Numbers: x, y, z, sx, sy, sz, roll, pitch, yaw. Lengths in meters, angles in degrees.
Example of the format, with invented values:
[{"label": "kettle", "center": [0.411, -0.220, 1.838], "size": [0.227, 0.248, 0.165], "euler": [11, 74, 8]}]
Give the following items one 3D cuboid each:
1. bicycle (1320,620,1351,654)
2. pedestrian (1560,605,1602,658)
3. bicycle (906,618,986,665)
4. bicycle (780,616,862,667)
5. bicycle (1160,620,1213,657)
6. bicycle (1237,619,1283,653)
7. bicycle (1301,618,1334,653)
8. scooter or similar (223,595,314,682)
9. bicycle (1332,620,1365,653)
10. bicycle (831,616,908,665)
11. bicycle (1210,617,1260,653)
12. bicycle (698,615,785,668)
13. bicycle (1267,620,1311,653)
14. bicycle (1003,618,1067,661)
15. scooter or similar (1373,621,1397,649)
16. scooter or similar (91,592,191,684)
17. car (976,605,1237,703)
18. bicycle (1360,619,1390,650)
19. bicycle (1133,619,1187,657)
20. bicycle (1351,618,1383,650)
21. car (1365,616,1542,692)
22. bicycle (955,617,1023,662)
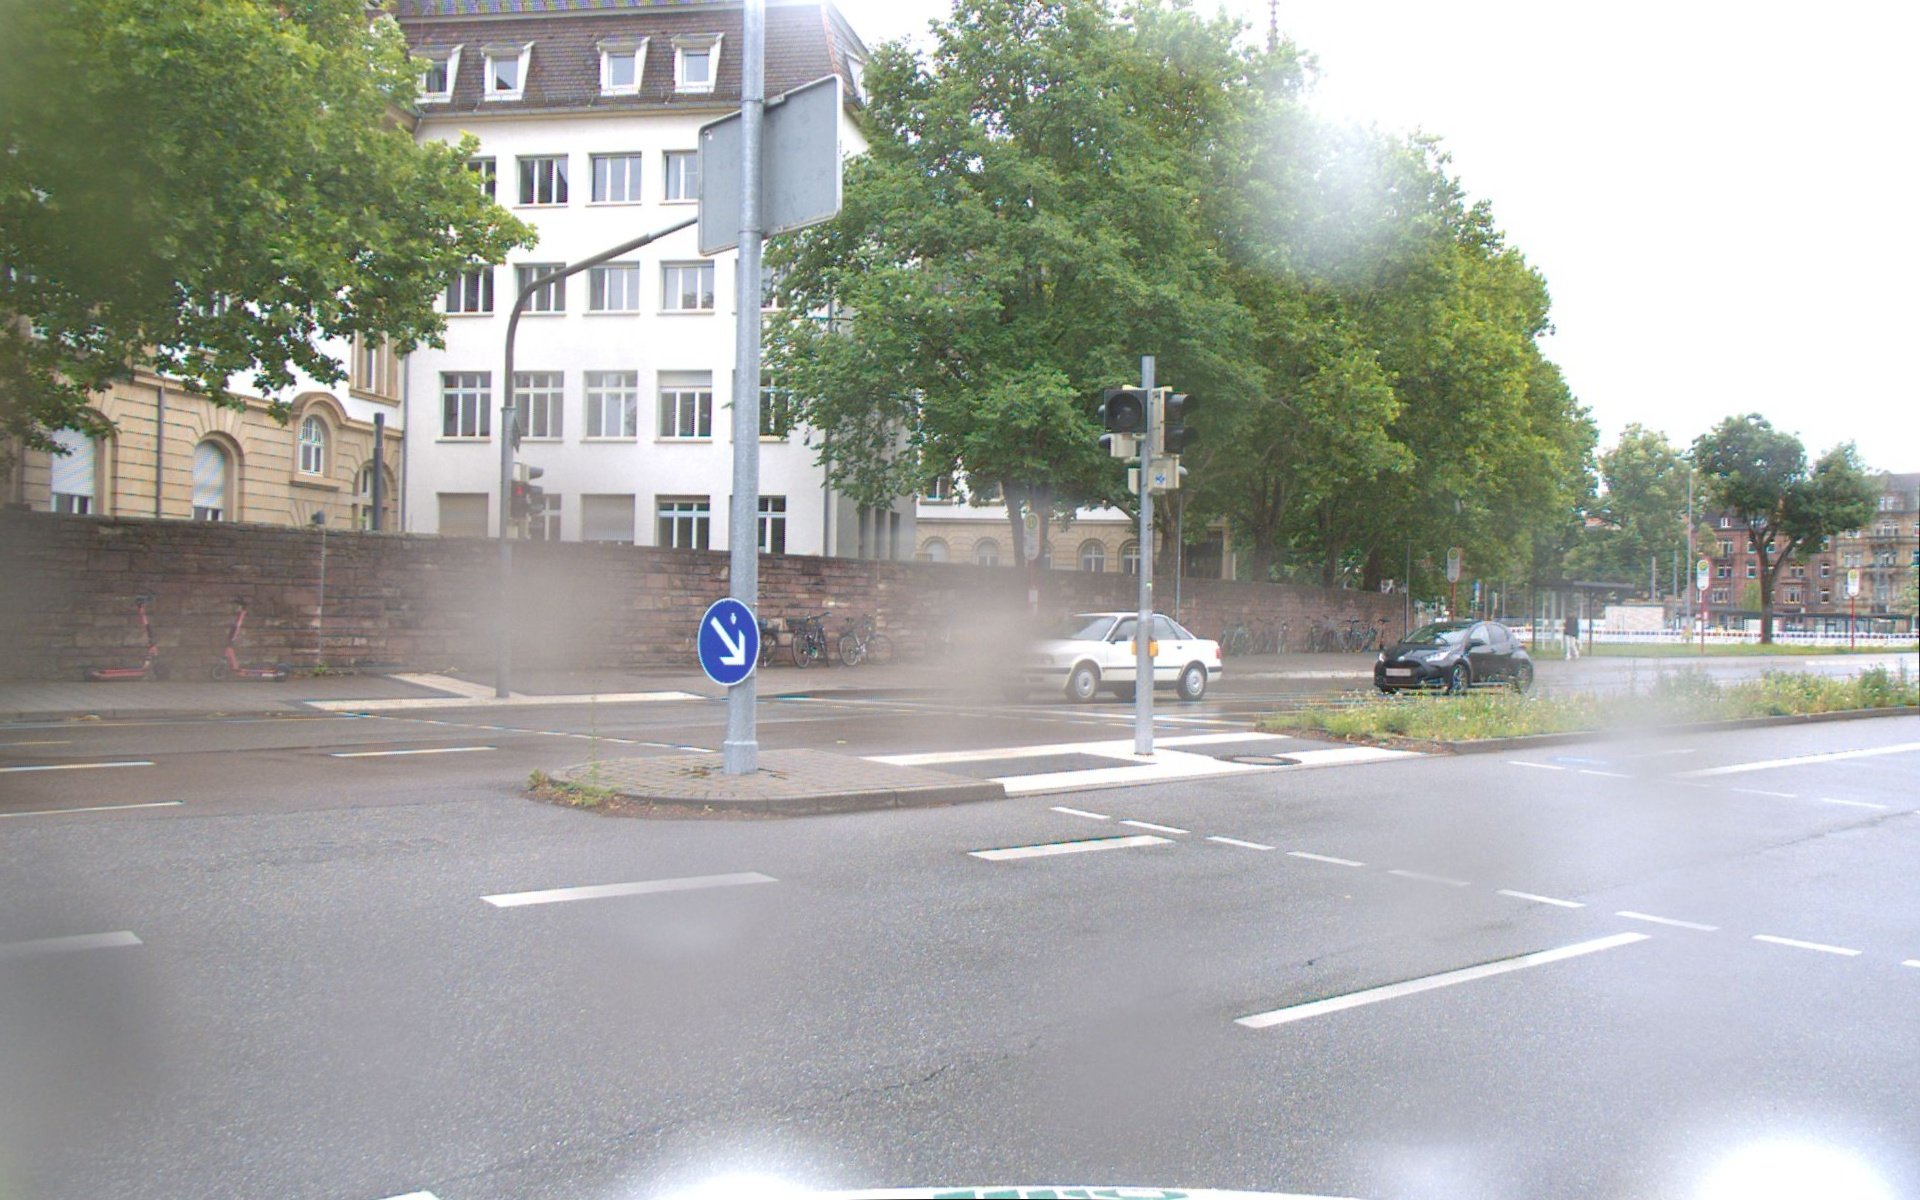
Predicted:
[{"label": "bicycle", "center": [13.038, 1.282, 57.467], "size": [0.562, 1.155, 1.989], "euler": [1, 0, 27]}, {"label": "pedestrian", "center": [20.610, 1.052, 54.865], "size": [0.855, 1.725, 1.392], "euler": [1, 0, 41]}, {"label": "bicycle", "center": [-0.304, 0.912, 36.686], "size": [0.720, 1.000, 1.854], "euler": [1, 0, 40]}, {"label": "bicycle", "center": [-2.827, 0.835, 33.776], "size": [0.719, 1.000, 1.694], "euler": [1, 0, 36]}, {"label": "bicycle", "center": [6.339, 1.060, 46.216], "size": [0.719, 1.000, 1.694], "euler": [1, 0, 36]}, {"label": "bicycle", "center": [9.225, 1.114, 50.806], "size": [0.719, 1.000, 1.694], "euler": [1, 0, 36]}, {"label": "bicycle", "center": [11.968, 1.169, 55.302], "size": [0.562, 1.155, 1.989], "euler": [1, 0, 27]}, {"label": "scooter or similar", "center": [-10.277, 0.566, 24.601], "size": [0.385, 1.217, 1.136], "euler": [9, 5, 40]}, {"label": "bicycle", "center": [13.934, 1.293, 59.336], "size": [0.562, 1.155, 1.987], "euler": [1, 0, 31]}, {"label": "bicycle", "center": [-1.924, 0.857, 35.255], "size": [0.719, 1.000, 1.694], "euler": [1, 0, 36]}, {"label": "bicycle", "center": [7.969, 1.022, 47.896], "size": [0.719, 1.000, 1.694], "euler": [1, 0, 36]}, {"label": "bicycle", "center": [-4.264, 0.804, 32.372], "size": [0.719, 1.000, 1.694], "euler": [1, 0, 36]}, {"label": "bicycle", "center": [10.446, 1.163, 52.533], "size": [0.719, 1.000, 1.694], "euler": [1, 0, 36]}, {"label": "bicycle", "center": [1.824, 0.942, 40.140], "size": [0.719, 1.000, 1.694], "euler": [1, 0, 36]}, {"label": "scooter or similar", "center": [16.570, 1.371, 64.475], "size": [0.561, 1.065, 1.359], "euler": [1, 0, 31]}, {"label": "scooter or similar", "center": [-11.539, 0.533, 23.325], "size": [0.385, 1.217, 1.135], "euler": [9, 5, 42]}, {"label": "car", "center": [2.413, 0.839, 26.402], "size": [4.486, 1.440, 1.576], "euler": [1, -2, -43]}, {"label": "bicycle", "center": [15.874, 1.294, 63.206], "size": [0.562, 1.155, 1.987], "euler": [1, 0, 31]}, {"label": "bicycle", "center": [5.483, 1.041, 45.175], "size": [0.719, 1.000, 1.694], "euler": [1, 0, 36]}, {"label": "bicycle", "center": [15.090, 1.249, 61.295], "size": [0.562, 1.155, 1.987], "euler": [1, 0, 31]}, {"label": "car", "center": [9.991, 1.082, 33.379], "size": [4.032, 1.440, 1.604], "euler": [1, -2, -43]}, {"label": "bicycle", "center": [0.681, 0.914, 38.301], "size": [0.719, 1.000, 1.694], "euler": [1, 0, 36]}]
